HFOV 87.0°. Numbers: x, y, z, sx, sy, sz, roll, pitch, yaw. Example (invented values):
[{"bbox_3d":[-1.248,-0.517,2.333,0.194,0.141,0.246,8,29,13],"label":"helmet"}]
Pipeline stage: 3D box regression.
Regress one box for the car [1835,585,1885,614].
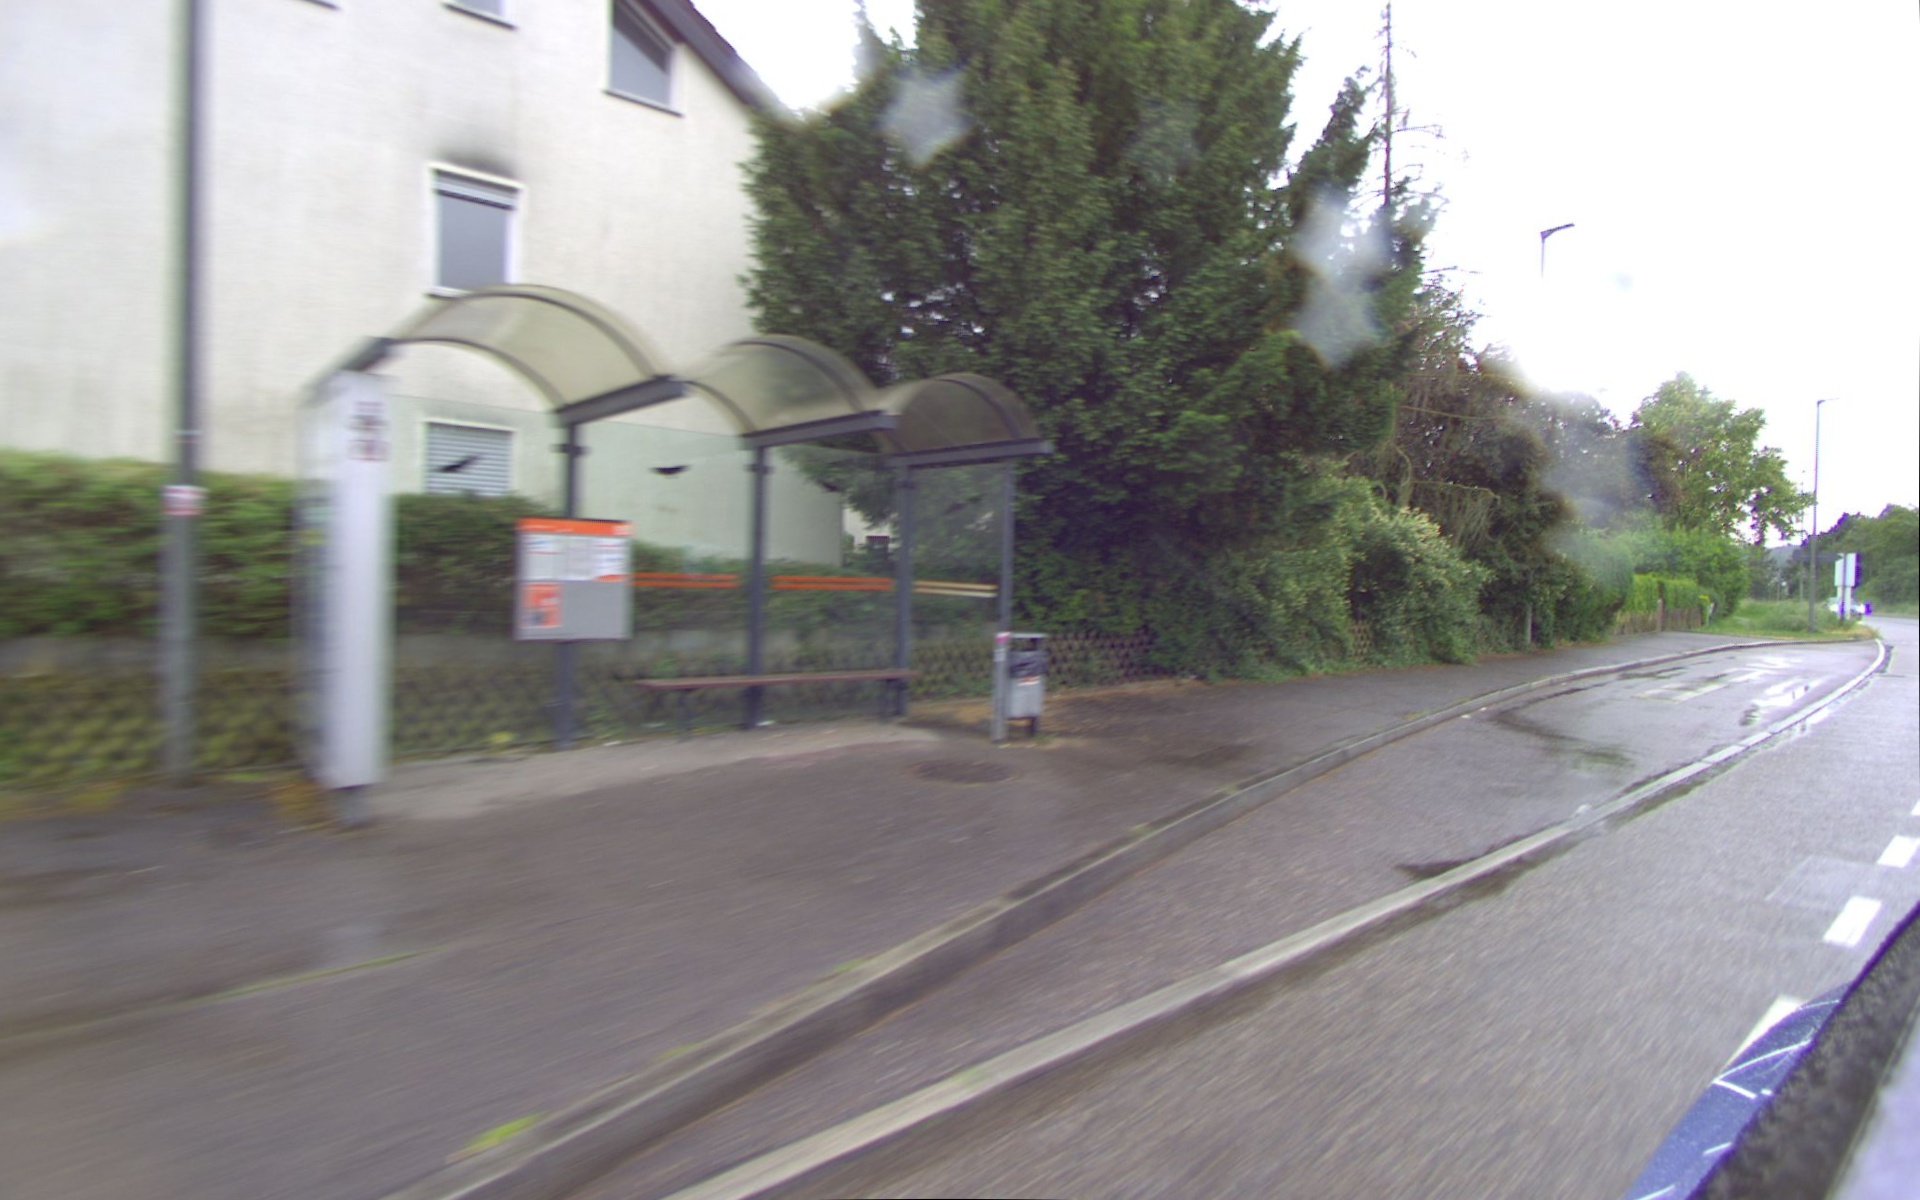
[{"bbox_3d":[61.334,-0.054,69.028,1.987,1.864,3.951,3,1,34],"label":"car"}]
